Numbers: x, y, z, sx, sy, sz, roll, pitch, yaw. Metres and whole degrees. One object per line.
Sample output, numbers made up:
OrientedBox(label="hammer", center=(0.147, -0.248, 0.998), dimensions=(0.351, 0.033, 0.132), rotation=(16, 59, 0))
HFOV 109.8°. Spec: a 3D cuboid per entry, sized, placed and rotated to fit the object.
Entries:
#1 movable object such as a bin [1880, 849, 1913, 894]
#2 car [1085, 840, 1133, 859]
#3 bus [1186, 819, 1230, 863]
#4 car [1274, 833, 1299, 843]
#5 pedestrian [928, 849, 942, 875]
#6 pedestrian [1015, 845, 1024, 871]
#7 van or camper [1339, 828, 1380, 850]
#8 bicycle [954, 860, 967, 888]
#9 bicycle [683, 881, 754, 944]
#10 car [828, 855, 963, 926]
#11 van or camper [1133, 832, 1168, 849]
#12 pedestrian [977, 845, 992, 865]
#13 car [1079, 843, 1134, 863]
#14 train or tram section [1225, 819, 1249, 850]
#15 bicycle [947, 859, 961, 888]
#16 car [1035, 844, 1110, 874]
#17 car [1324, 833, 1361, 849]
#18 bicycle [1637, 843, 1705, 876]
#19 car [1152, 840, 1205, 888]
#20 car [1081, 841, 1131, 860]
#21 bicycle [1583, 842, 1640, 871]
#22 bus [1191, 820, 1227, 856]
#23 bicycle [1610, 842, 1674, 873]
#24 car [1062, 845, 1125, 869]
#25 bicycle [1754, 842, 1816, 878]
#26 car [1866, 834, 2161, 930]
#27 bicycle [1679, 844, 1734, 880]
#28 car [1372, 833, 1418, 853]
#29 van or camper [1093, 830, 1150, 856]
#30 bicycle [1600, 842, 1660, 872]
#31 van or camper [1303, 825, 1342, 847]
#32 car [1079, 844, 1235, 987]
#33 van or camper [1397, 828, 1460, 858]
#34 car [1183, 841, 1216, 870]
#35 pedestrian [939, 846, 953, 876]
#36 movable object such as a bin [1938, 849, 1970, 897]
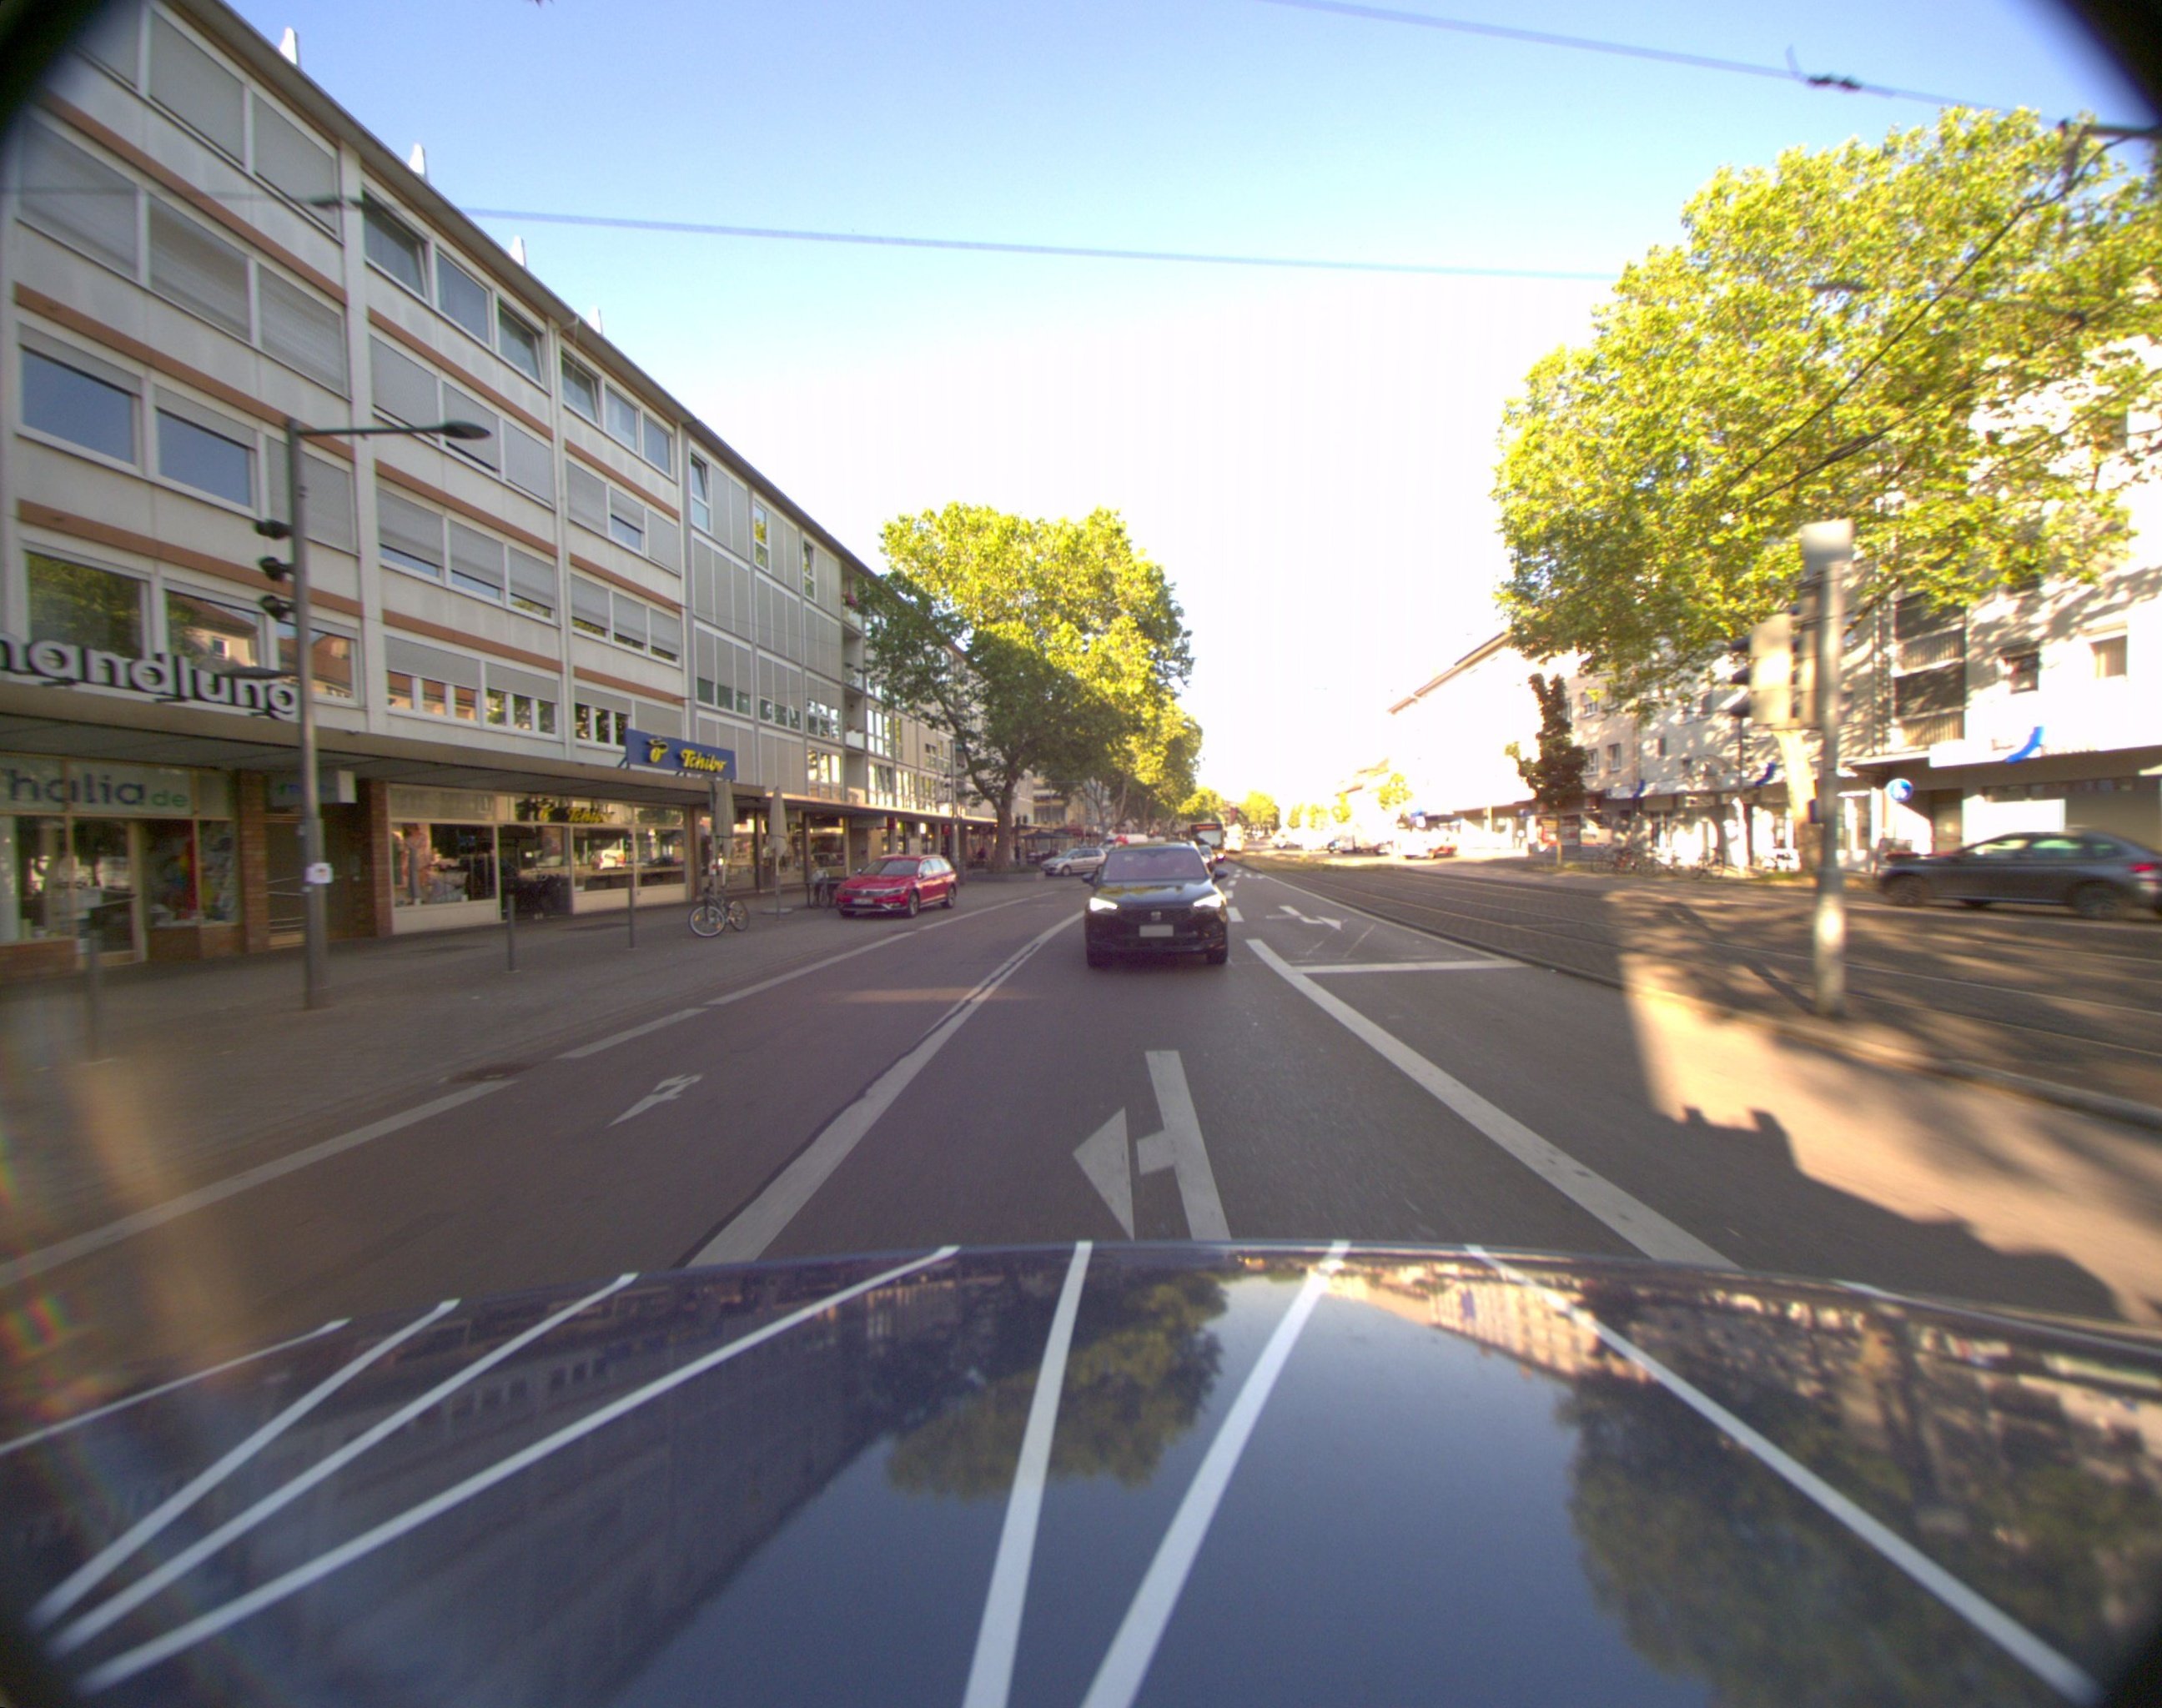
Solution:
OrientedBox(label="movable object such as a bin", center=(20.392, 0.435, 19.006), dimensions=(0.649, 1.087, 0.544), rotation=(-2, 1, -42))
OrientedBox(label="car", center=(2.520, -0.423, 67.735), dimensions=(4.006, 1.555, 1.655), rotation=(-2, 3, -32))
OrientedBox(label="bus", center=(9.953, -1.166, 59.414), dimensions=(2.870, 2.962, 12.244), rotation=(-3, 2, 10))
OrientedBox(label="car", center=(36.504, -2.884, 135.133), dimensions=(3.917, 1.482, 1.767), rotation=(-4, 1, -15))
OrientedBox(label="pedestrian", center=(-7.910, 0.437, 41.120), dimensions=(0.538, 1.393, 0.687), rotation=(1, 2, 7))
OrientedBox(label="pedestrian", center=(-4.801, 0.279, 59.391), dimensions=(0.552, 2.002, 0.577), rotation=(-4, 1, -6))
OrientedBox(label="van or camper", center=(29.306, -1.582, 79.990), dimensions=(4.458, 1.978, 1.796), rotation=(-4, 1, -37))
OrientedBox(label="bicycle", center=(-4.889, 0.792, 30.864), dimensions=(0.294, 1.034, 1.717), rotation=(2, 1, -1))
OrientedBox(label="bicycle", center=(-7.069, 1.112, 14.907), dimensions=(0.512, 1.064, 1.661), rotation=(1, 1, 4))
OrientedBox(label="car", center=(-4.645, 0.842, 19.754), dimensions=(1.782, 1.488, 4.569), rotation=(1, 1, 9))
OrientedBox(label="van or camper", center=(11.196, -2.163, 121.695), dimensions=(5.472, 2.455, 1.995), rotation=(-2, 2, -34))
OrientedBox(label="pedestrian", center=(-6.741, 0.043, 53.289), dimensions=(0.749, 1.354, 0.963), rotation=(-1, 2, 12))
OrientedBox(label="car", center=(1.954, -0.090, 57.930), dimensions=(4.006, 1.428, 1.655), rotation=(-2, 3, -32))
OrientedBox(label="train or tram section", center=(19.320, -2.378, 93.761), dimensions=(2.636, 3.430, 11.137), rotation=(-2, 1, 12))
OrientedBox(label="bicycle", center=(-5.176, 0.787, 30.955), dimensions=(0.294, 1.095, 1.717), rotation=(2, 1, -1))
OrientedBox(label="car", center=(-0.443, 0.249, 43.537), dimensions=(4.007, 1.597, 1.804), rotation=(-2, 2, -40))
OrientedBox(label="car", center=(29.922, -1.493, 86.883), dimensions=(4.006, 1.577, 1.875), rotation=(-4, 1, -35))
OrientedBox(label="bicycle", center=(21.590, 0.179, 27.810), dimensions=(1.898, 1.118, 0.652), rotation=(-2, 1, 6))
OrientedBox(label="car", center=(3.627, 0.301, 27.774), dimensions=(1.657, 1.572, 4.002), rotation=(-1, 1, 10))
OrientedBox(label="car", center=(2.154, -0.297, 64.545), dimensions=(4.006, 1.515, 1.655), rotation=(-2, 3, -32))
OrientedBox(label="bicycle", center=(22.018, 0.082, 31.559), dimensions=(1.898, 1.118, 0.534), rotation=(-2, 1, 6))
OrientedBox(label="bus", center=(12.082, -1.625, 71.494), dimensions=(2.870, 2.962, 12.244), rotation=(-3, 2, 10))
OrientedBox(label="bicycle", center=(21.783, 0.139, 29.515), dimensions=(1.898, 1.118, 0.652), rotation=(-2, 1, 6))
OrientedBox(label="car", center=(0.827, 0.174, 50.804), dimensions=(4.007, 1.428, 1.655), rotation=(-2, 3, -35))
OrientedBox(label="bicycle", center=(22.987, 0.167, 24.861), dimensions=(0.509, 1.118, 1.912), rotation=(-2, 1, 9))
OrientedBox(label="car", center=(17.541, 0.407, 13.837), dimensions=(1.892, 1.464, 4.203), rotation=(-2, 1, -9))
OrientedBox(label="bicycle", center=(20.906, 0.248, 25.429), dimensions=(0.509, 1.118, 1.912), rotation=(-2, 1, 9))
OrientedBox(label="car", center=(27.503, -0.998, 66.499), dimensions=(4.459, 1.482, 1.765), rotation=(-4, 1, -39))
OrientedBox(label="van or camper", center=(4.038, -1.090, 74.974), dimensions=(5.471, 2.455, 1.995), rotation=(-2, 2, -32))
OrientedBox(label="bicycle", center=(21.879, 0.115, 30.312), dimensions=(1.898, 1.118, 0.534), rotation=(-2, 1, 6))
OrientedBox(label="van or camper", center=(31.982, -2.377, 100.662), dimensions=(6.409, 2.652, 1.995), rotation=(-4, 1, -44))
OrientedBox(label="car", center=(1.194, 0.719, 11.035), dimensions=(1.807, 1.638, 4.002), rotation=(-2, 1, 9))
OrientedBox(label="van or camper", center=(25.346, -0.842, 55.365), dimensions=(4.822, 1.887, 1.946), rotation=(-4, 1, -34))
OrientedBox(label="car", center=(6.592, 0.049, 41.961), dimensions=(1.657, 1.477, 4.163), rotation=(-1, 1, 10))
OrientedBox(label="pedestrian", center=(-7.285, 0.387, 40.998), dimensions=(0.538, 1.583, 0.687), rotation=(1, 2, 7))
OrientedBox(label="movable object such as a bin", center=(20.546, 0.435, 17.880), dimensions=(0.575, 1.087, 0.476), rotation=(-2, 1, -42))
